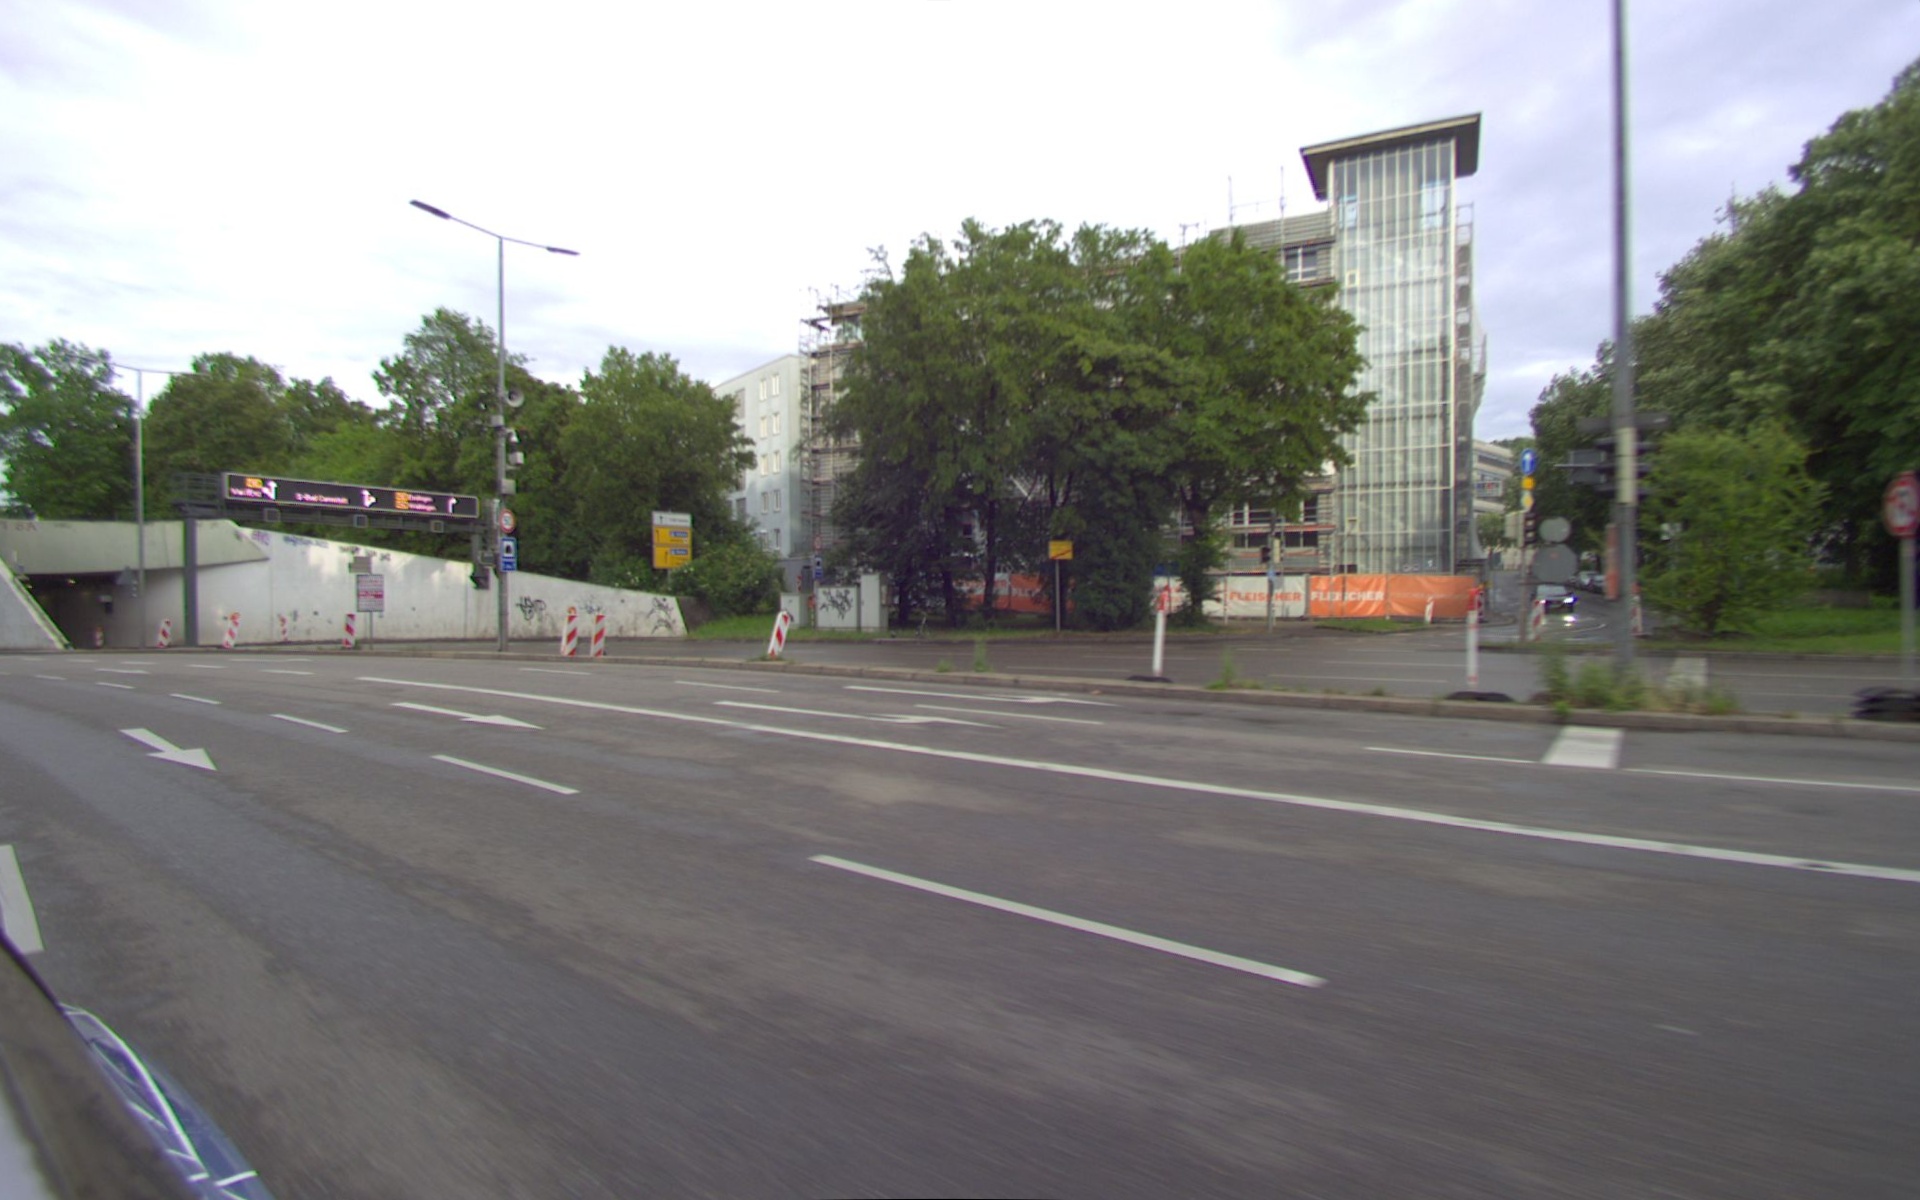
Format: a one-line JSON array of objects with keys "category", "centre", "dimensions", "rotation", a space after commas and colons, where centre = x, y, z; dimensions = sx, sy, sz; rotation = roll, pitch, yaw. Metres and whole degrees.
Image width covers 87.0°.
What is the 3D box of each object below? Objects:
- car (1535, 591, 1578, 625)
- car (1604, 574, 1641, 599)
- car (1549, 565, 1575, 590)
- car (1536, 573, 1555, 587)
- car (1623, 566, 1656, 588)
[{"category": "car", "centre": [31.325, 0.386, 53.236], "dimensions": [1.802, 1.638, 3.961], "rotation": [-1, 1, 29]}, {"category": "car", "centre": [45.904, -0.949, 70.164], "dimensions": [1.802, 1.638, 3.961], "rotation": [-1, 1, 29]}, {"category": "car", "centre": [60.999, -2.312, 102.588], "dimensions": [2.097, 2.500, 4.694], "rotation": [-1, 1, 29]}, {"category": "car", "centre": [68.182, -2.344, 117.831], "dimensions": [1.802, 1.638, 3.961], "rotation": [-1, 1, 29]}, {"category": "car", "centre": [53.730, -1.825, 80.124], "dimensions": [1.802, 1.638, 3.961], "rotation": [-1, 1, 29]}]
